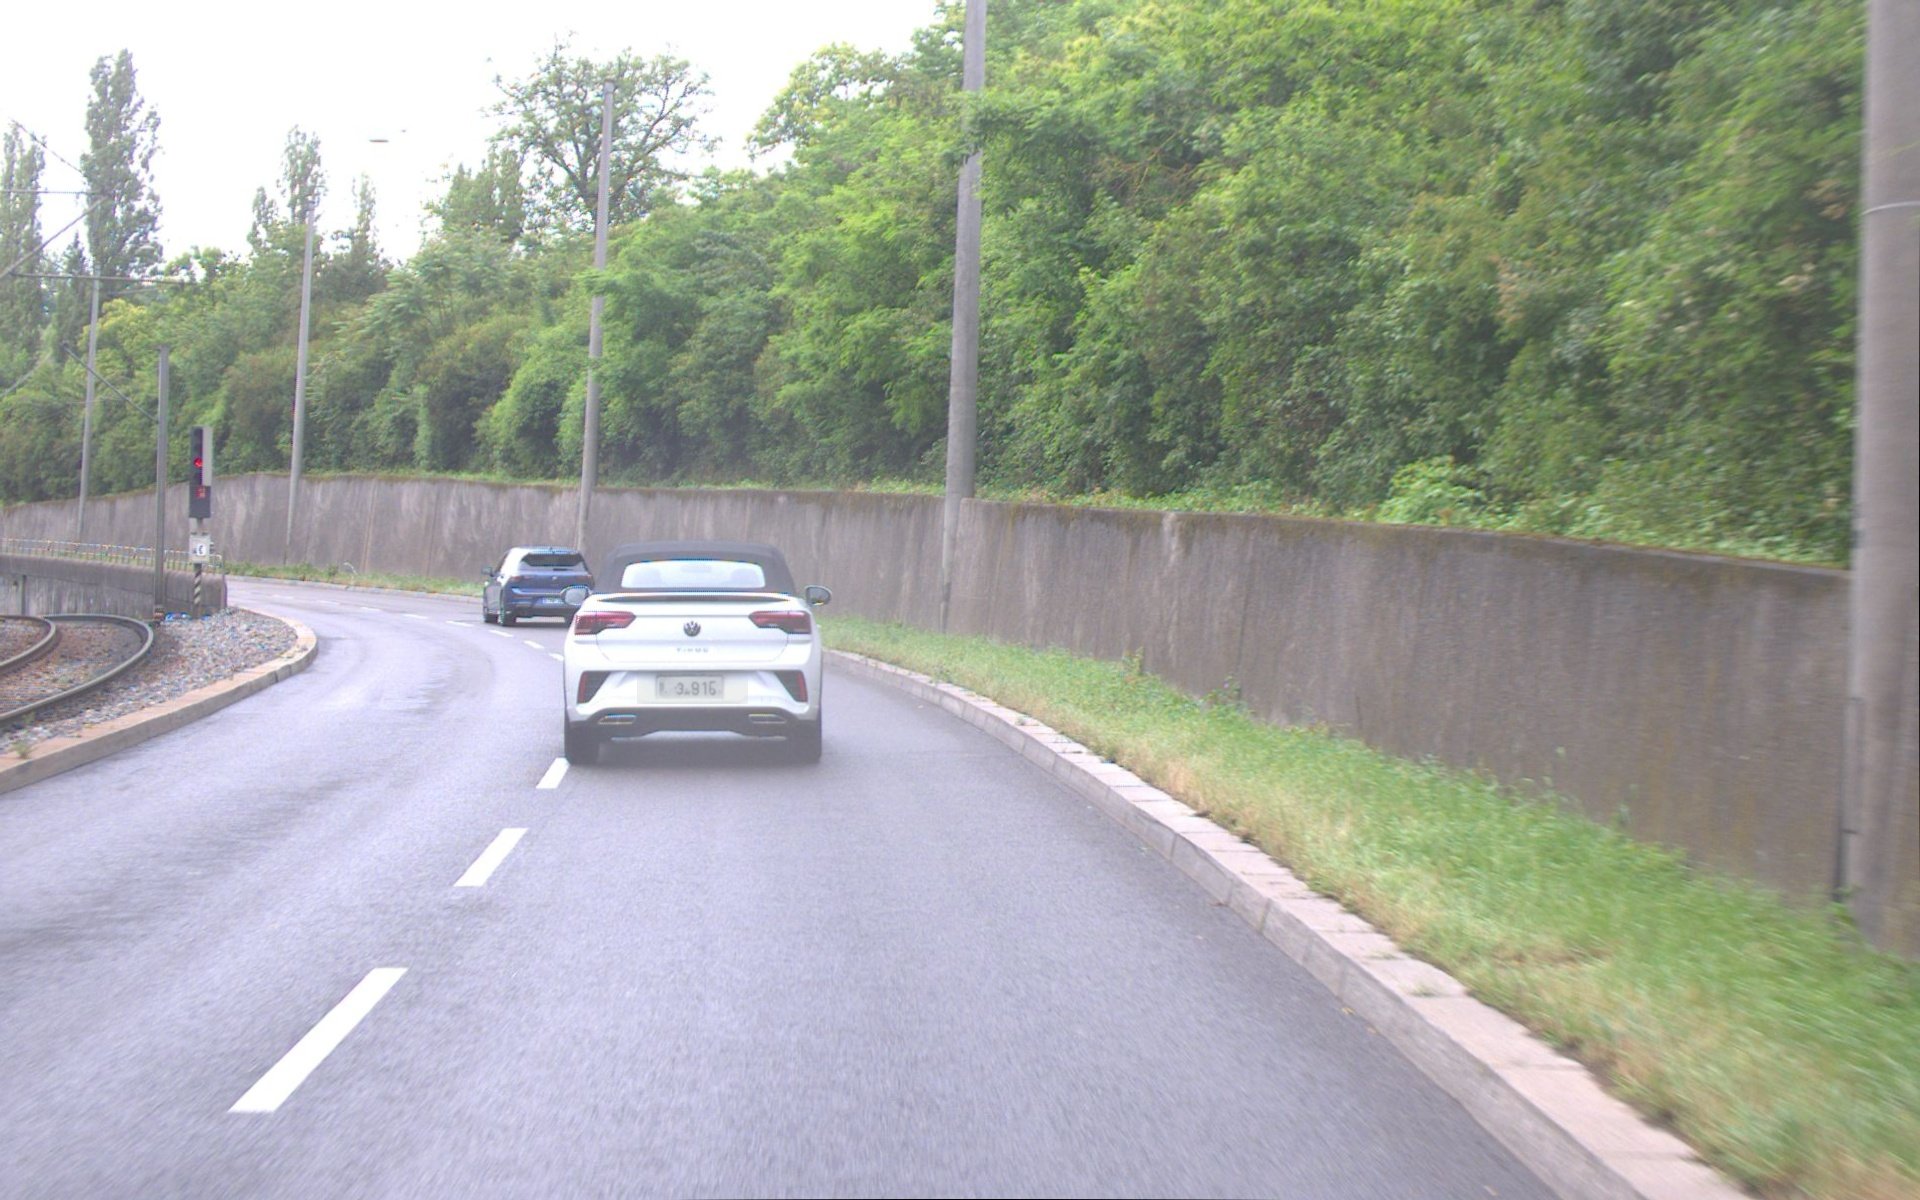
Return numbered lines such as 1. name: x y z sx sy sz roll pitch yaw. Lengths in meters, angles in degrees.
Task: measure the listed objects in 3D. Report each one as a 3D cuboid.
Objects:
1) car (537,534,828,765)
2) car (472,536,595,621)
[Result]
1. car: -1.921 0.304 24.997 1.871 1.519 4.540 0 1 -2
2. car: -7.886 -0.412 63.359 1.763 1.496 4.001 1 1 -14
